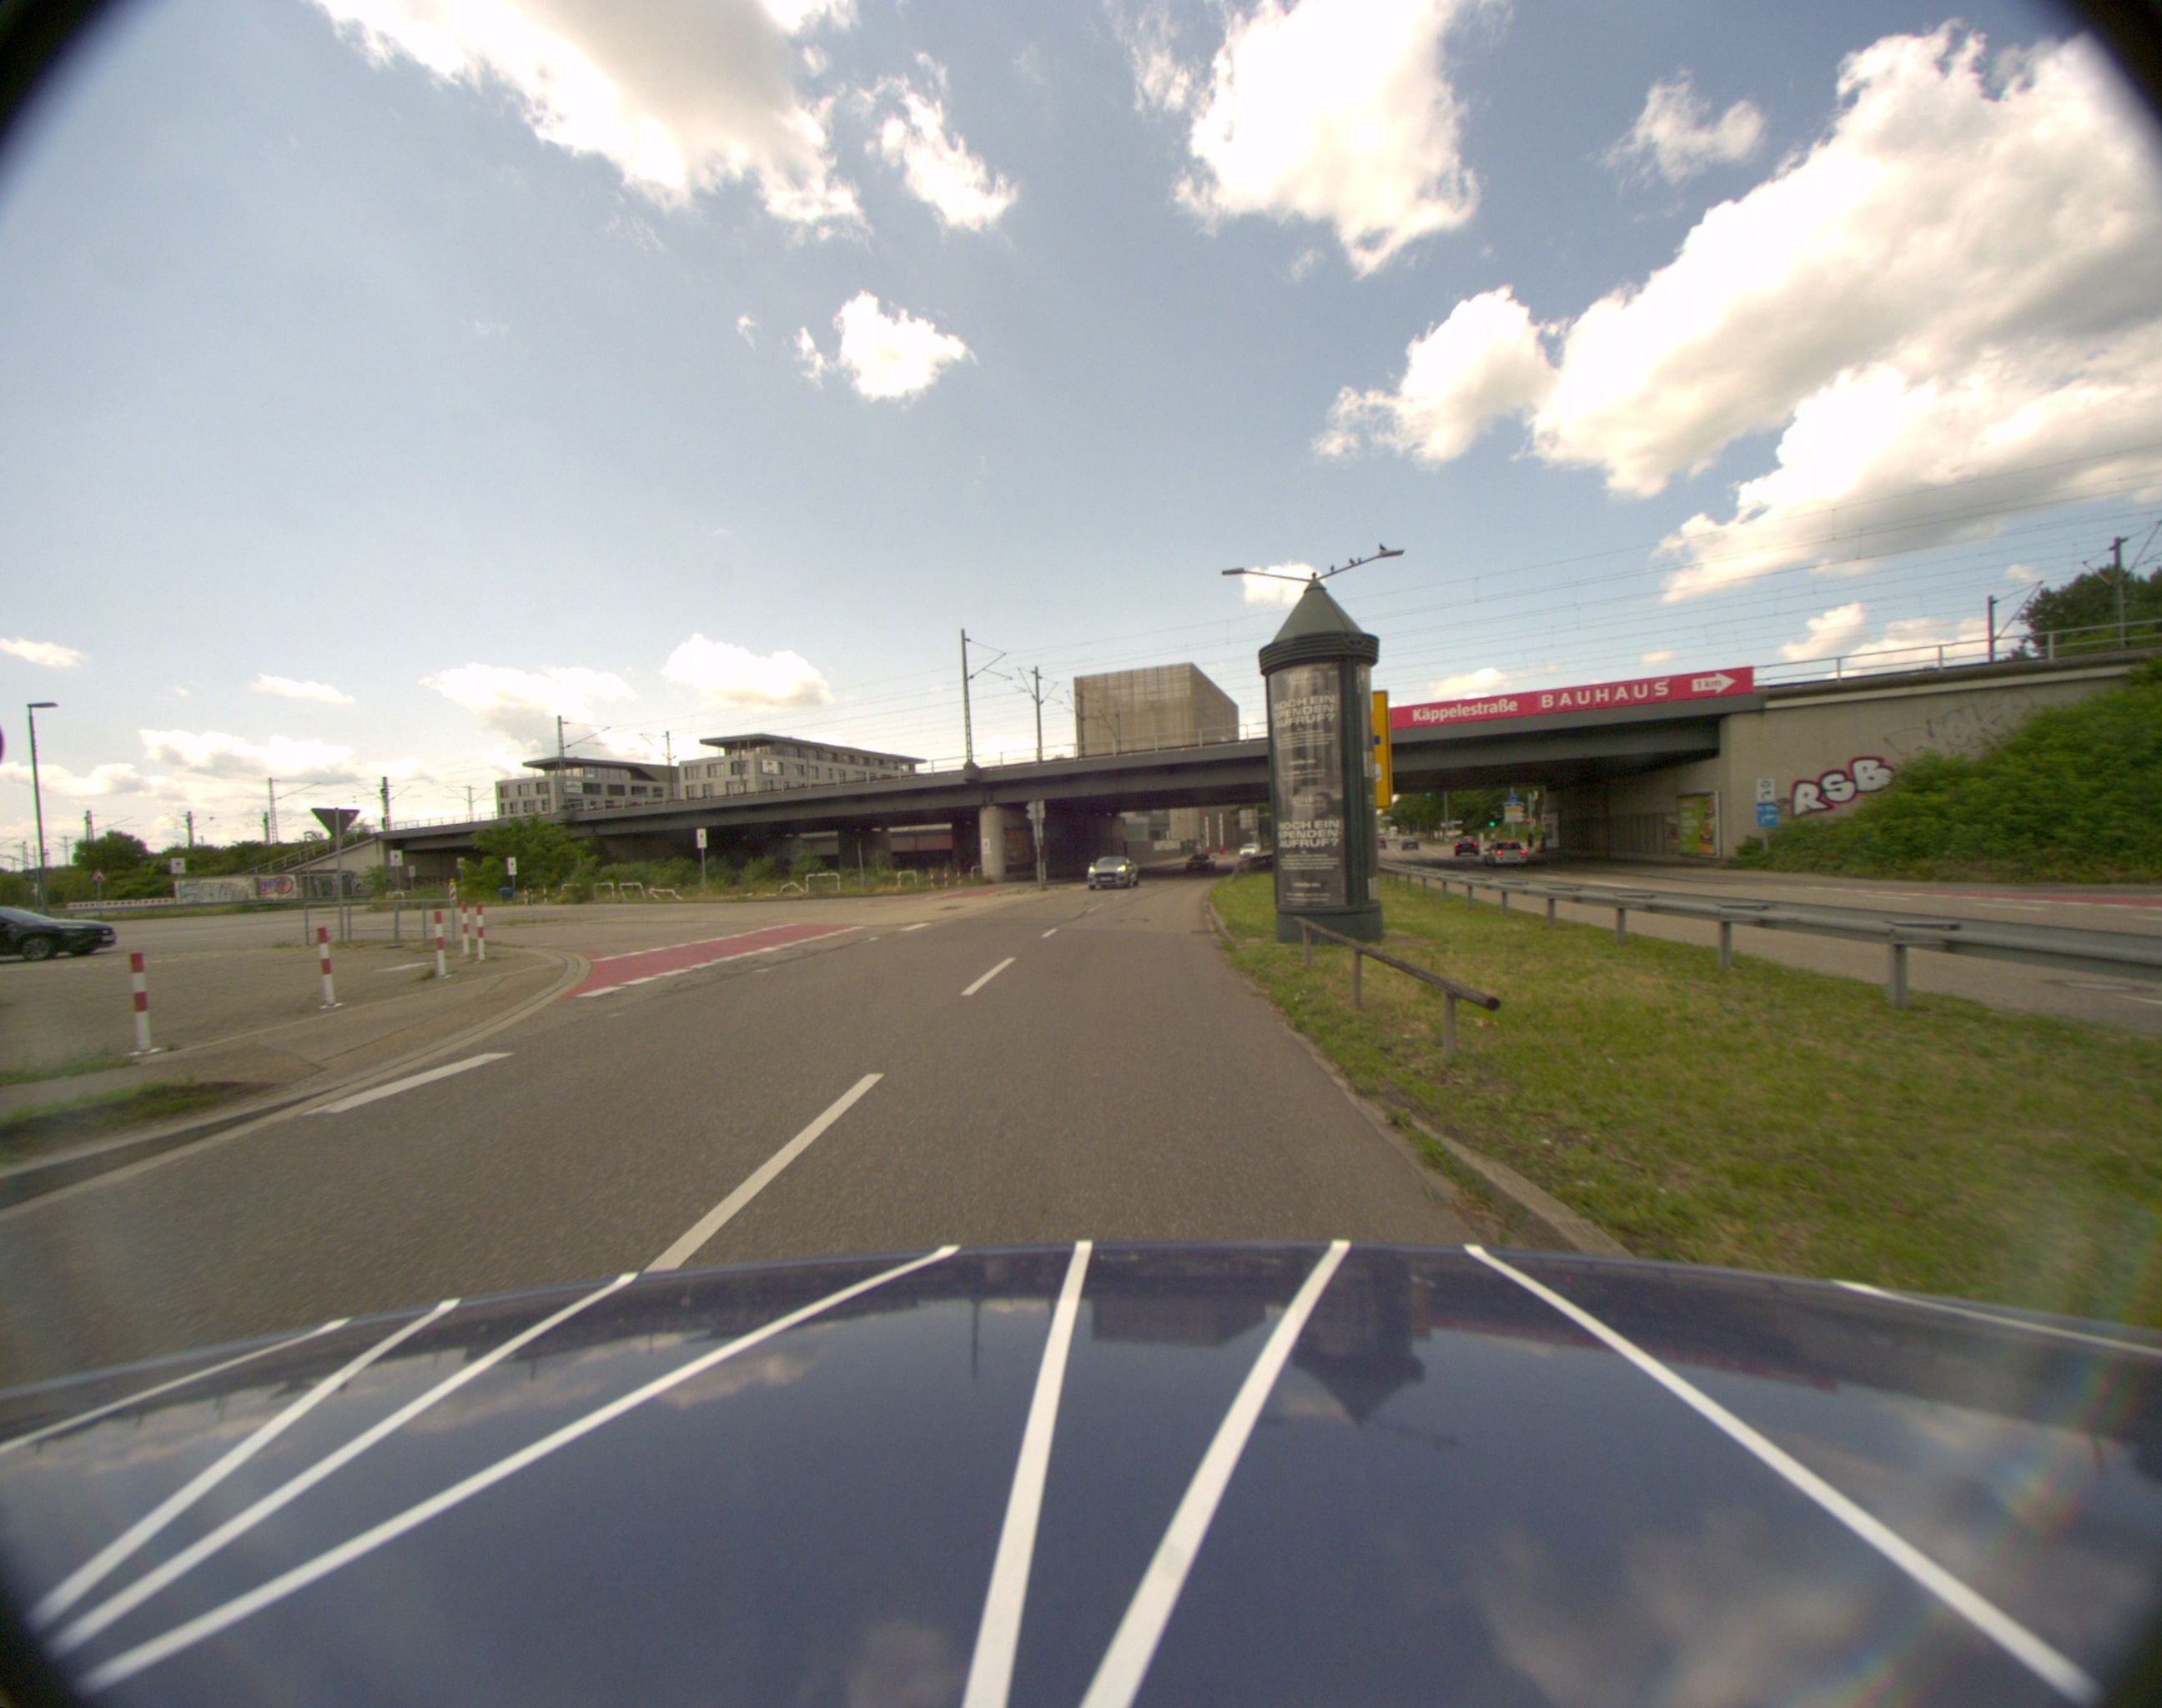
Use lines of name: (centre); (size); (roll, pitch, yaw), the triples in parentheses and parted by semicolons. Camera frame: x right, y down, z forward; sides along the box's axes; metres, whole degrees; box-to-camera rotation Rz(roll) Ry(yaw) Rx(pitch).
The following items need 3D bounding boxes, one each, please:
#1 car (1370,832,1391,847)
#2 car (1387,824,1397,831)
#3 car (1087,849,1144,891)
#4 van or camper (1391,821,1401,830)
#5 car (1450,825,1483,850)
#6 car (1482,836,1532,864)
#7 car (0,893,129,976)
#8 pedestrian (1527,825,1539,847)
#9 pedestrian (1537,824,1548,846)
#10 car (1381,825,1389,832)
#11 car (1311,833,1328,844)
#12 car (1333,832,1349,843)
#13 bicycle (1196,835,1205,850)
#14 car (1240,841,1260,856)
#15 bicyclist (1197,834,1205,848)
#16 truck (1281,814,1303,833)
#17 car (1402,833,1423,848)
car: (36.828, -1.840, 93.327); (1.995, 1.665, 4.329); (-2, 2, 27)
car: (71.782, -6.176, 175.587); (1.928, 1.520, 4.005); (-2, 0, 21)
car: (1.612, 0.696, 34.386); (1.822, 1.565, 3.956); (-5, 1, 12)
van or camper: (90.998, -8.255, 219.608); (2.354, 2.525, 7.071); (-4, 1, 20)
car: (33.439, -1.436, 65.991); (1.996, 2.002, 4.341); (-2, 1, 20)
car: (24.984, -0.257, 44.653); (1.754, 1.502, 4.004); (-2, 1, 18)
car: (-29.260, 2.243, 20.622); (3.883, 2.002, 1.752); (-3, 1, -16)
pedestrian: (34.999, -1.371, 58.831); (0.591, 1.671, 0.556); (-2, 2, 19)
pedestrian: (35.081, -1.425, 57.774); (0.554, 1.616, 0.587); (-2, 2, 22)
car: (96.346, -8.079, 241.116); (2.193, 1.953, 5.199); (-2, 2, 20)
car: (34.970, -2.303, 111.326); (1.917, 1.406, 4.300); (-5, 1, 21)
car: (39.624, -2.490, 115.848); (1.996, 1.407, 4.837); (-4, 1, 21)
bicycle: (15.316, -1.455, 97.071); (0.720, 1.764, 2.536); (-2, 2, 18)
car: (19.419, -0.654, 87.374); (1.711, 1.488, 3.654); (-2, 2, 21)
bicyclist: (15.324, -1.620, 97.112); (0.716, 1.759, 0.989); (-2, 2, 17)
truck: (38.665, -5.614, 138.970); (3.062, 3.096, 7.944); (-2, 2, 21)
car: (37.177, -1.542, 85.175); (1.949, 1.366, 4.005); (-4, 2, 26)
